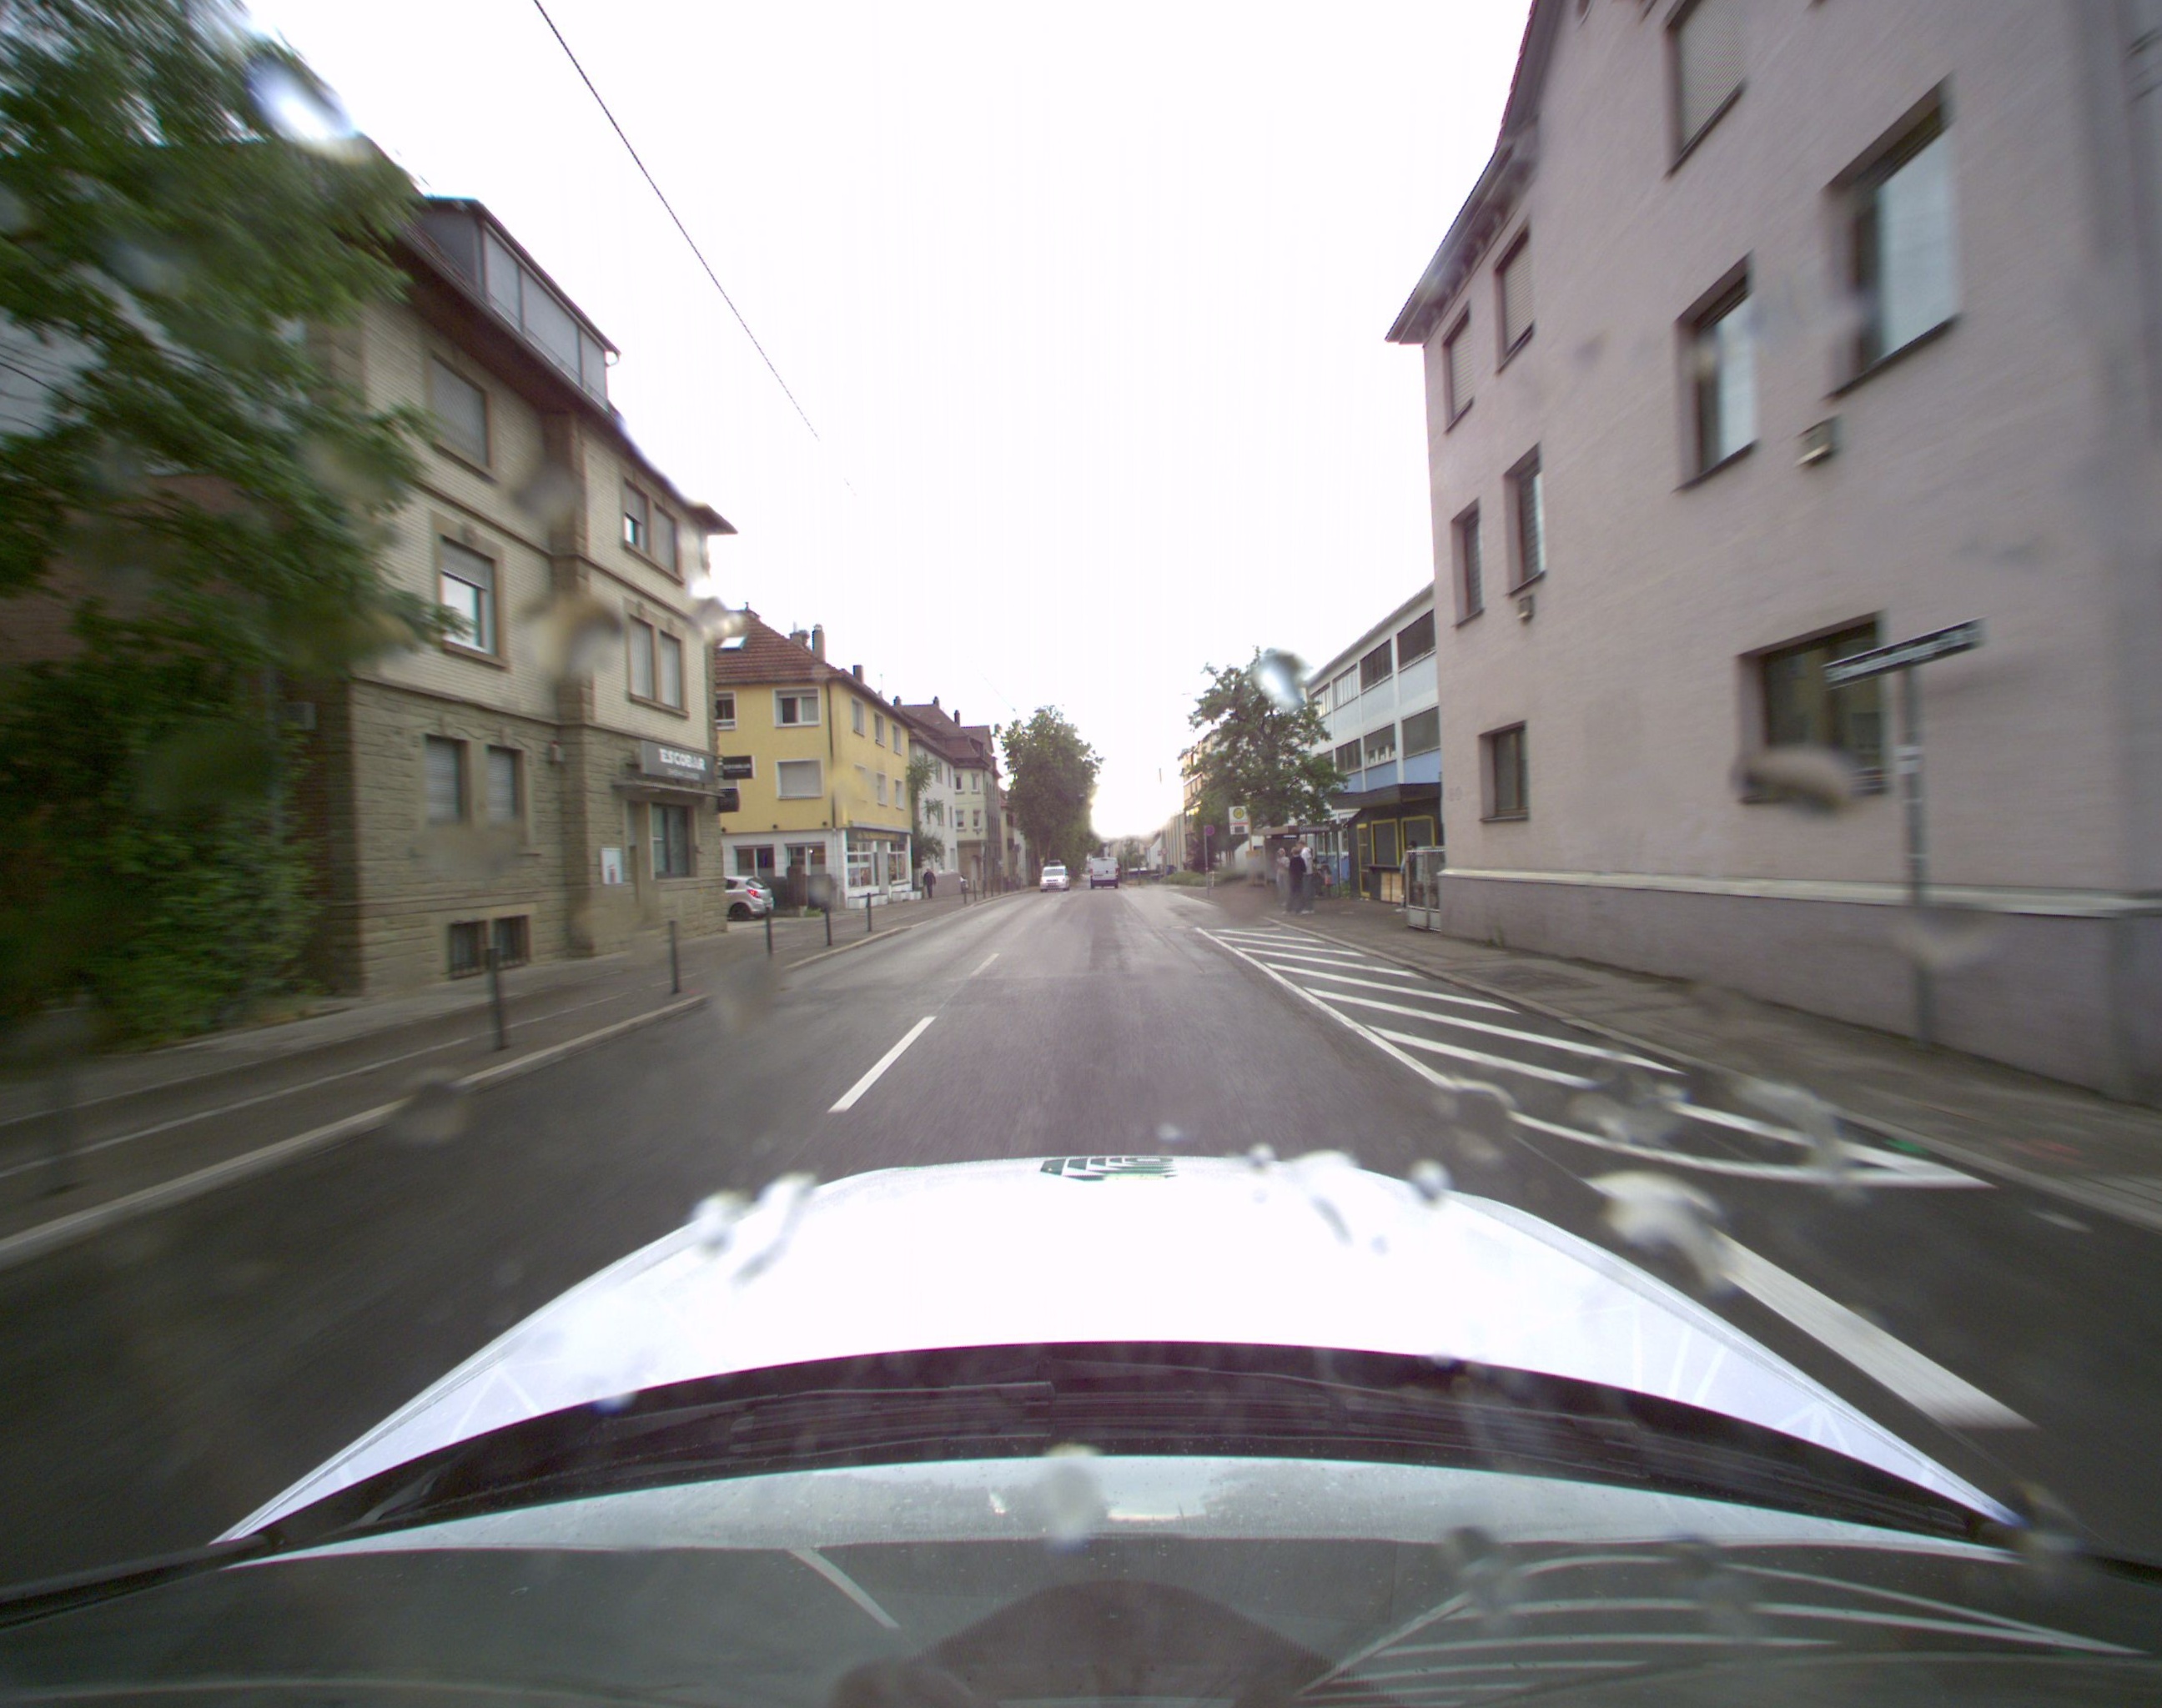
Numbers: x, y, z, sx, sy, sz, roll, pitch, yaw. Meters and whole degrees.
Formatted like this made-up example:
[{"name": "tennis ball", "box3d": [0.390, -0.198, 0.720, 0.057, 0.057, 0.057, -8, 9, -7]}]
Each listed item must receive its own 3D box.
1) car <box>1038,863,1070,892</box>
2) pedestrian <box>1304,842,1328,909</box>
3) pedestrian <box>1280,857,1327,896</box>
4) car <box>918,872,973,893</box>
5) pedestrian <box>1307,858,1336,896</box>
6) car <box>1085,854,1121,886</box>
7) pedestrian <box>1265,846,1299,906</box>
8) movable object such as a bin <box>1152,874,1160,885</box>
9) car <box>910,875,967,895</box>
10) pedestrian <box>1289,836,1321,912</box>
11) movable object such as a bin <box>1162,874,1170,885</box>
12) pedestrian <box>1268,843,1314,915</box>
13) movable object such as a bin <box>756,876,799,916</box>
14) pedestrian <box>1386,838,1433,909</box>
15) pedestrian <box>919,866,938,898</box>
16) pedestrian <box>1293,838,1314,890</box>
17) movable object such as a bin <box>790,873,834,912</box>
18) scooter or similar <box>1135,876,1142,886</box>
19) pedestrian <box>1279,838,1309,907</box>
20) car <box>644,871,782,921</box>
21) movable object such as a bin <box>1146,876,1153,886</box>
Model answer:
[{"name": "car", "box3d": [-1.837, 1.619, 56.807, 1.875, 1.870, 4.454, -3, -2, 1]}, {"name": "pedestrian", "box3d": [6.133, 0.559, 21.299, 0.443, 1.708, 0.559, -5, -1, 15]}, {"name": "pedestrian", "box3d": [7.809, 0.802, 28.670, 1.353, 1.273, 0.740, -4, -1, -5]}, {"name": "car", "box3d": [-11.322, 2.378, 68.282, 4.167, 1.704, 2.000, 1, -1, 1]}, {"name": "pedestrian", "box3d": [8.008, 0.766, 27.134, 0.659, 1.199, 0.740, -4, -1, -4]}, {"name": "car", "box3d": [1.583, 1.172, 60.738, 2.340, 2.160, 4.775, -3, 0, -1]}, {"name": "pedestrian", "box3d": [6.022, 0.653, 24.399, 0.659, 1.741, 0.828, -4, -1, -4]}, {"name": "movable object such as a bin", "box3d": [7.903, 2.703, 85.314, 0.692, 1.082, 0.779, -5, -2, 2]}, {"name": "car", "box3d": [-10.901, 2.380, 62.664, 3.974, 1.453, 2.000, 1, -1, 0]}, {"name": "pedestrian", "box3d": [5.721, 0.505, 20.779, 0.482, 1.875, 0.636, -5, -1, 28]}, {"name": "movable object such as a bin", "box3d": [8.876, 2.626, 85.359, 0.692, 1.082, 0.779, -5, -2, 2]}, {"name": "pedestrian", "box3d": [5.232, 0.628, 20.346, 0.639, 1.710, 0.741, -4, -1, -33]}, {"name": "movable object such as a bin", "box3d": [-11.587, 1.596, 31.141, 1.242, 1.439, 0.983, -2, -1, 0]}, {"name": "pedestrian", "box3d": [7.847, 0.468, 19.449, 0.677, 1.625, 0.619, -4, -1, -28]}, {"name": "pedestrian", "box3d": [-8.301, 1.518, 44.428, 0.813, 1.679, 0.992, -1, -2, -1]}, {"name": "pedestrian", "box3d": [8.195, 0.371, 29.985, 0.642, 1.831, 0.744, -4, -1, 15]}, {"name": "movable object such as a bin", "box3d": [-10.274, 1.456, 31.159, 1.297, 1.402, 0.983, -2, -1, 0]}, {"name": "scooter or similar", "box3d": [7.301, 3.444, 104.048, 0.604, 1.162, 1.697, -2, -2, -4]}, {"name": "pedestrian", "box3d": [5.847, 0.510, 22.366, 0.458, 1.840, 0.603, -5, -1, -4]}, {"name": "car", "box3d": [-11.775, 1.316, 26.243, 3.554, 1.486, 1.946, 0, -1, -1]}, {"name": "movable object such as a bin", "box3d": [7.122, 2.824, 85.159, 0.617, 0.936, 0.686, -5, -2, 2]}]
